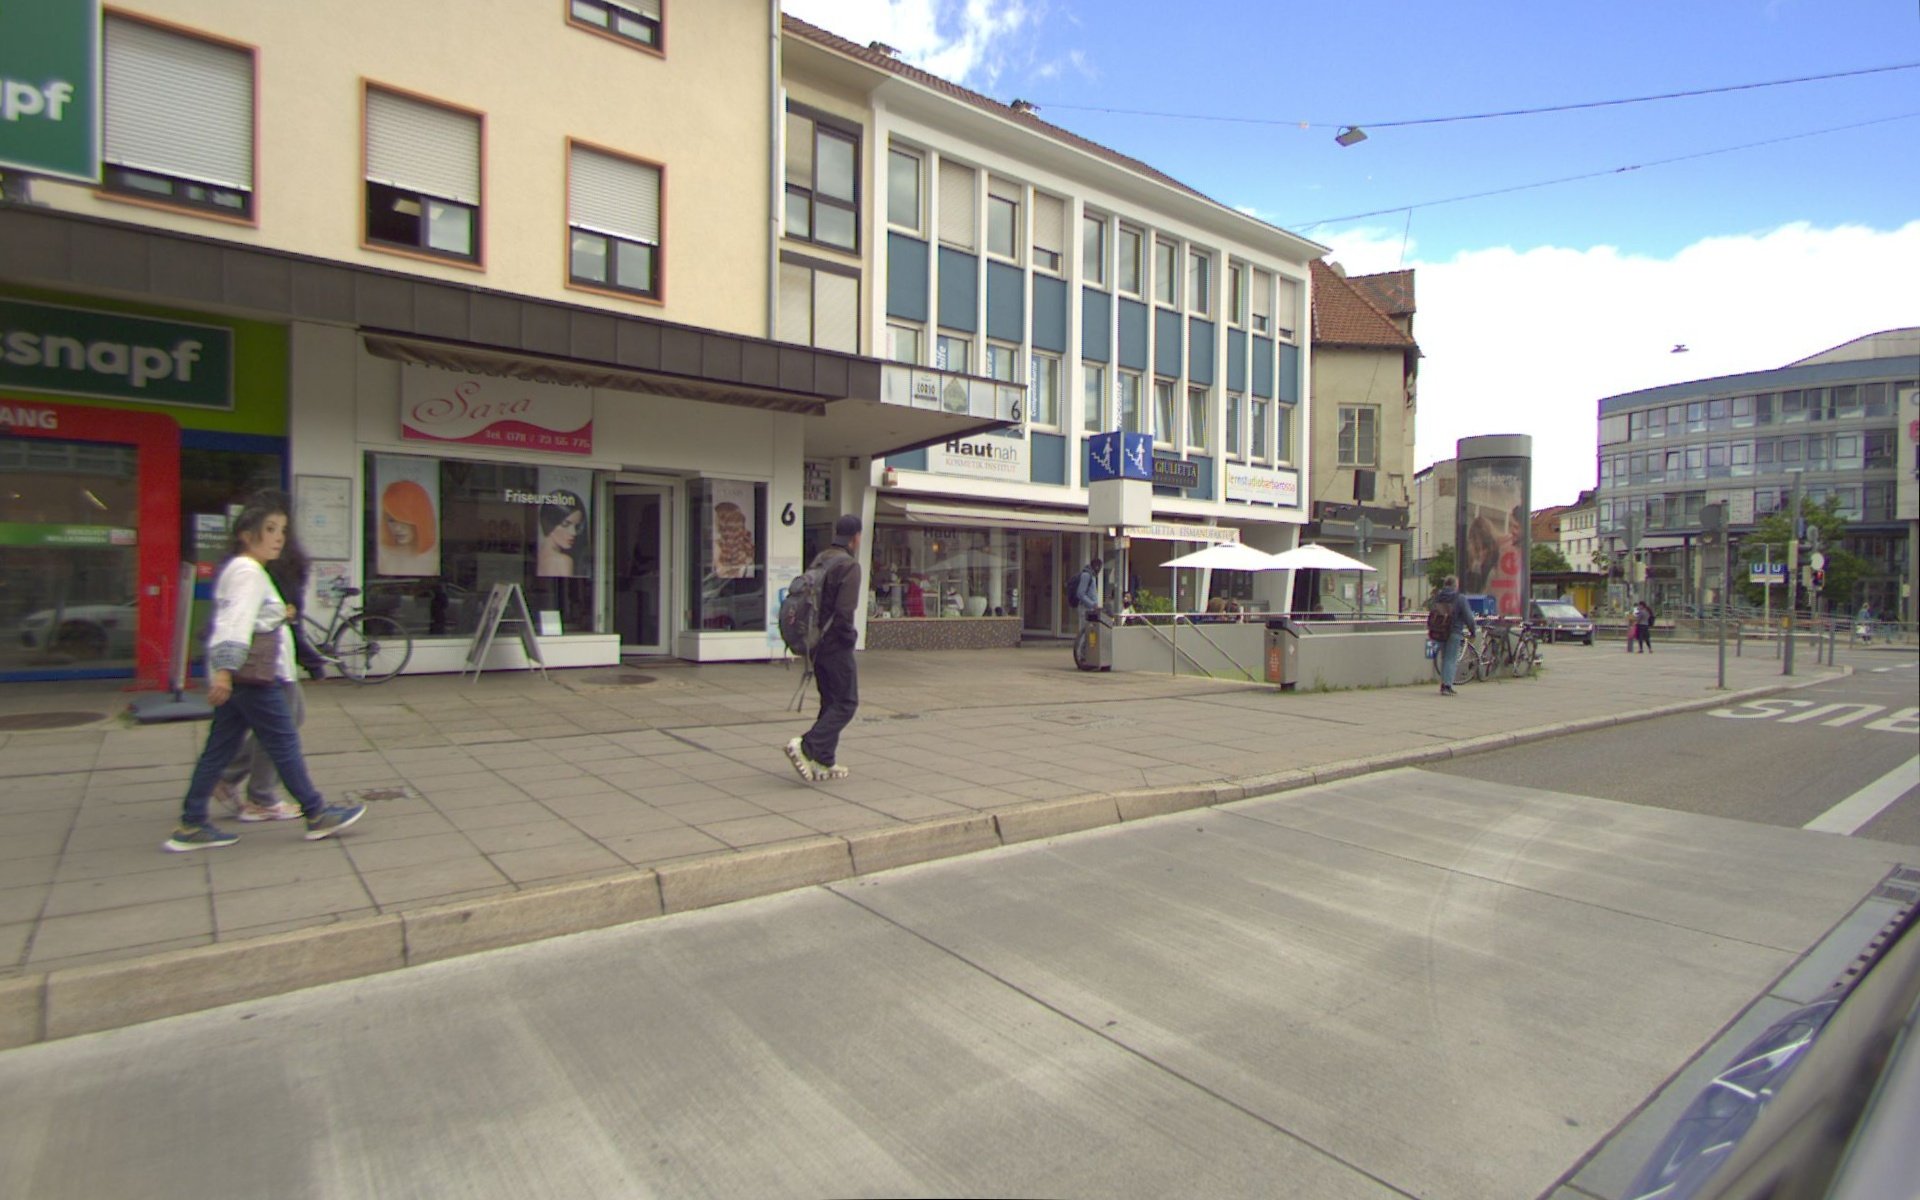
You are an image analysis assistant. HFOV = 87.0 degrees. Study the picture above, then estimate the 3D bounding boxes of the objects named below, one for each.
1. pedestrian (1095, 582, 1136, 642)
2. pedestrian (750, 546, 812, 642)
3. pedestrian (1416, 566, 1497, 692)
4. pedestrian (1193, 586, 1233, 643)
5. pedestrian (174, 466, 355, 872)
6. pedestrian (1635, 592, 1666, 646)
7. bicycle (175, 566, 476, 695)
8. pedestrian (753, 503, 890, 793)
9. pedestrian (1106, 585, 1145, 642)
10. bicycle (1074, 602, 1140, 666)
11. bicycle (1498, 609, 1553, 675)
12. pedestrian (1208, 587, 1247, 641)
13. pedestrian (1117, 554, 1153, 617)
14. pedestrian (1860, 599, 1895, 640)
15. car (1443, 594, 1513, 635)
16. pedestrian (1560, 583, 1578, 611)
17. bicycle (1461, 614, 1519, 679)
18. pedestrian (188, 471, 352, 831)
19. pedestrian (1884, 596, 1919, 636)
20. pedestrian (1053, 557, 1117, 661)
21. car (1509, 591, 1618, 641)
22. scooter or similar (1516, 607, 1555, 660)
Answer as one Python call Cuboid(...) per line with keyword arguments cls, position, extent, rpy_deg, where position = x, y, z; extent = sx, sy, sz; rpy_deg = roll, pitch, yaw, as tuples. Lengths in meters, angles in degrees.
Cuboid(cls="pedestrian", position=(3.292, 0.264, 21.420), extent=(0.577, 1.236, 0.614), rpy_deg=(1, -3, -41))
Cuboid(cls="pedestrian", position=(-3.193, -0.109, 18.045), extent=(0.838, 1.655, 0.689), rpy_deg=(1, 0, -42))
Cuboid(cls="pedestrian", position=(6.773, 0.375, 13.817), extent=(0.838, 1.655, 0.689), rpy_deg=(1, 0, -40))
Cuboid(cls="pedestrian", position=(5.717, 0.323, 22.887), extent=(0.577, 1.235, 0.614), rpy_deg=(1, 1, -41))
Cuboid(cls="pedestrian", position=(-3.132, 0.271, 4.554), extent=(0.604, 1.655, 0.614), rpy_deg=(0, 2, -41))
Cuboid(cls="pedestrian", position=(21.422, 0.592, 31.407), extent=(0.580, 1.643, 0.739), rpy_deg=(-2, -2, 20))
Cuboid(cls="bicycle", position=(-5.902, 0.253, 9.521), extent=(2.310, 1.076, 0.742), rpy_deg=(0, 2, -41))
Cuboid(cls="pedestrian", position=(-0.874, 0.277, 6.357), extent=(0.603, 1.699, 0.614), rpy_deg=(1, 1, -37))
Cuboid(cls="pedestrian", position=(3.622, 0.286, 22.118), extent=(0.577, 1.235, 0.614), rpy_deg=(1, -1, -41))
Cuboid(cls="bicycle", position=(2.377, 0.534, 16.313), extent=(1.364, 0.986, 0.273), rpy_deg=(1, 0, -45))
Cuboid(cls="bicycle", position=(9.507, 0.685, 16.996), extent=(1.362, 1.066, 0.274), rpy_deg=(1, 0, -38))
Cuboid(cls="pedestrian", position=(6.163, 0.325, 23.319), extent=(0.577, 1.236, 0.614), rpy_deg=(1, -3, -41))
Cuboid(cls="pedestrian", position=(4.203, -0.332, 24.291), extent=(0.577, 1.480, 0.614), rpy_deg=(1, -3, -40))
Cuboid(cls="pedestrian", position=(38.951, 0.815, 42.975), extent=(0.797, 1.668, 0.882), rpy_deg=(1, 0, 20))
Cuboid(cls="car", position=(25.822, 0.662, 50.601), extent=(1.851, 1.919, 4.910), rpy_deg=(0, 0, 12))
Cuboid(cls="pedestrian", position=(38.808, -0.189, 64.454), extent=(0.682, 1.767, 0.615), rpy_deg=(-1, -2, -3))
Cuboid(cls="bicycle", position=(8.403, 0.728, 16.029), extent=(1.362, 0.986, 0.274), rpy_deg=(1, 0, -38))
Cuboid(cls="pedestrian", position=(-3.498, 0.220, 5.118), extent=(0.604, 1.655, 0.720), rpy_deg=(0, 2, -41))
Cuboid(cls="pedestrian", position=(40.093, 0.690, 43.089), extent=(0.834, 1.656, 0.641), rpy_deg=(-1, -2, 18))
Cuboid(cls="pedestrian", position=(2.062, 0.140, 16.689), extent=(0.787, 1.655, 0.667), rpy_deg=(1, 0, -41))
Cuboid(cls="car", position=(24.451, 0.585, 41.246), extent=(1.847, 1.919, 4.920), rpy_deg=(0, 0, 5))
Cuboid(cls="scooter or similar", position=(12.826, 0.743, 22.538), extent=(1.186, 1.147, 0.315), rpy_deg=(1, 0, -38))
